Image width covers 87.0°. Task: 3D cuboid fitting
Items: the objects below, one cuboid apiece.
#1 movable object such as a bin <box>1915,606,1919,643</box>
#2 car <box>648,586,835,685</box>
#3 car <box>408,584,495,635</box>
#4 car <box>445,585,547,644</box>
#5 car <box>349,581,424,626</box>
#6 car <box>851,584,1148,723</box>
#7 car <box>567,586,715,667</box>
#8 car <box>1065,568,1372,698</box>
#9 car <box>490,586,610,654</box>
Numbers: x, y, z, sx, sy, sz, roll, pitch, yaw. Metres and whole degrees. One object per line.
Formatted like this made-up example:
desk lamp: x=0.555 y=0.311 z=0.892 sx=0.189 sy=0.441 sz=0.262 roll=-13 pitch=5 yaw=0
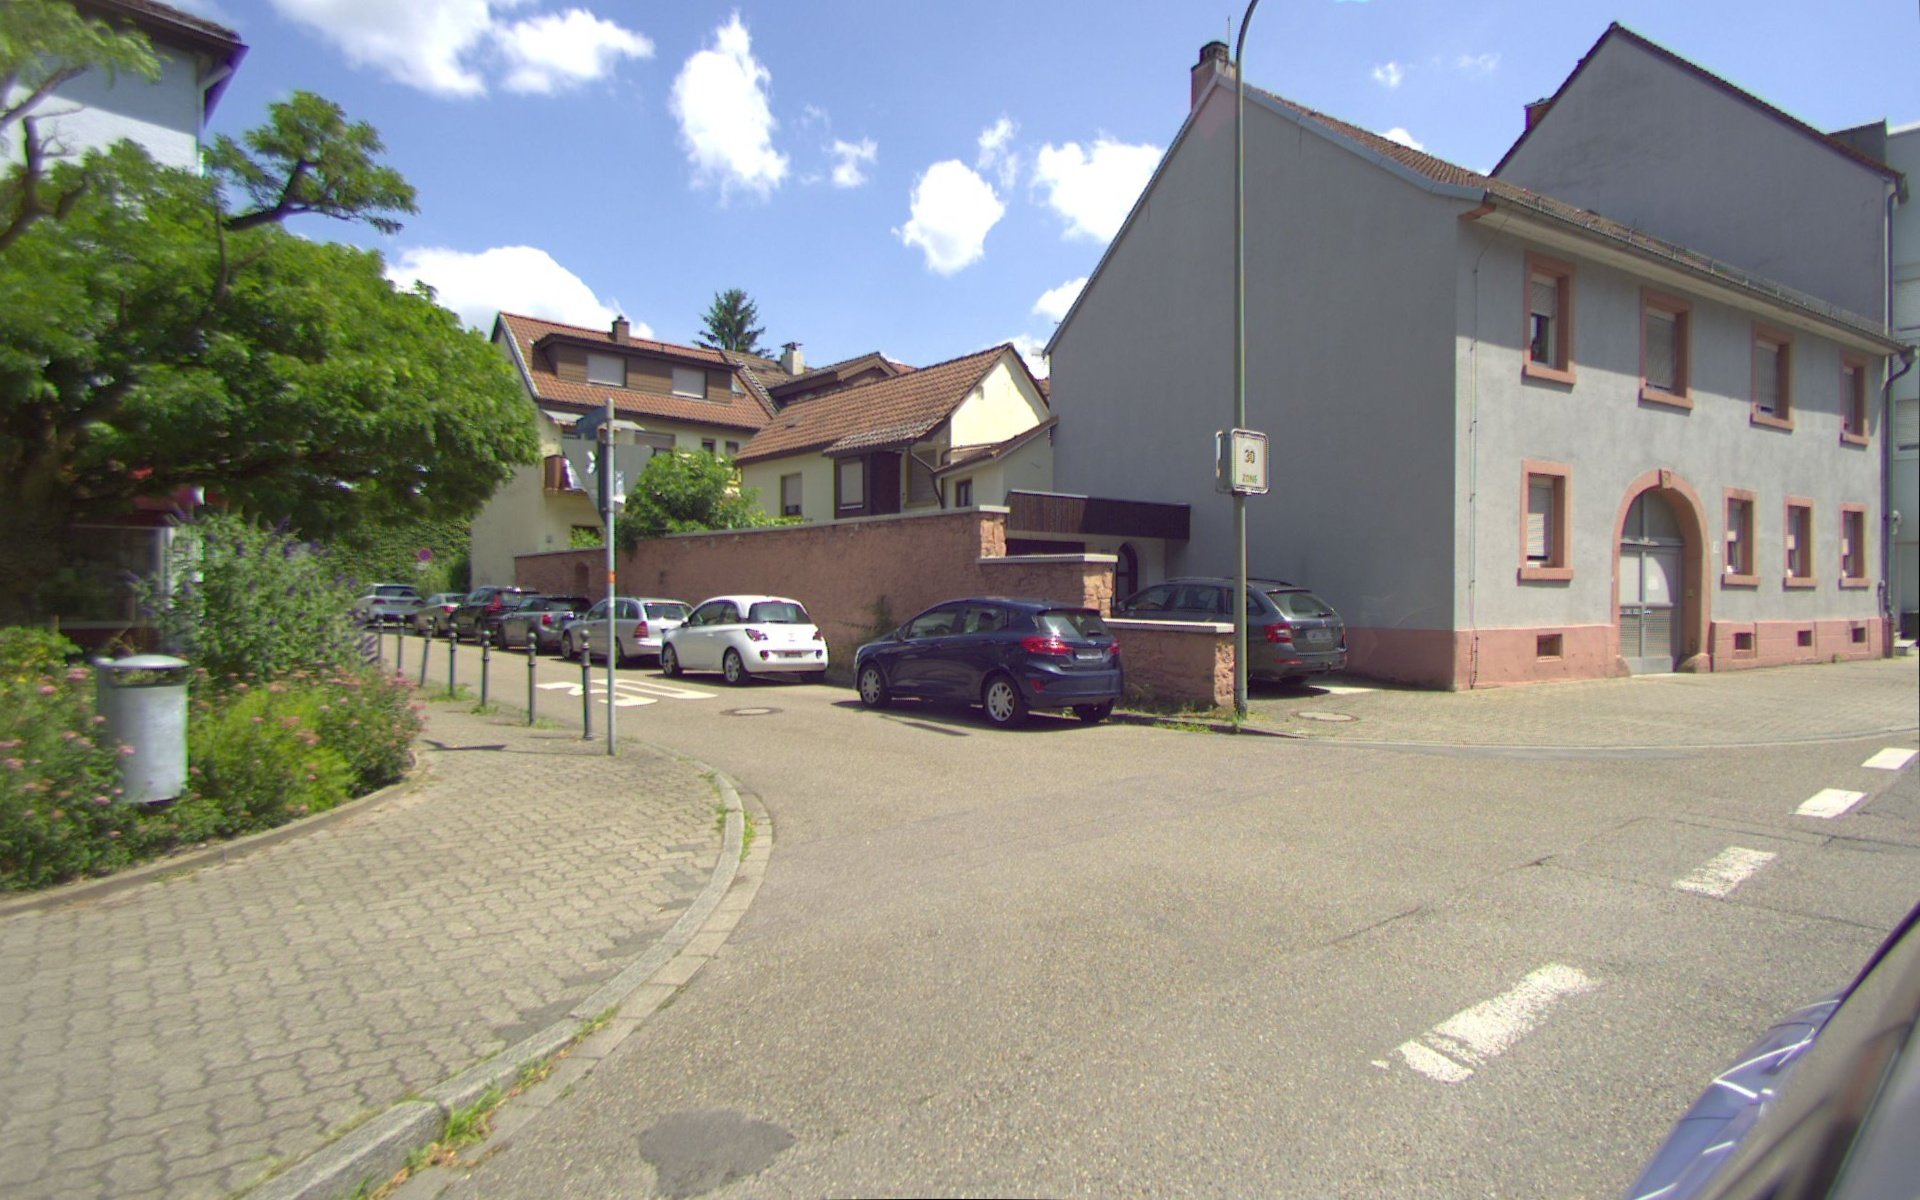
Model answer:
movable object such as a bin: x=25.218 y=0.651 z=26.359 sx=0.472 sy=0.946 sz=0.480 roll=1 pitch=1 yaw=43
car: x=-3.905 y=0.592 z=17.716 sx=1.710 sy=1.550 sz=3.605 roll=2 pitch=-2 yaw=-40
car: x=-16.473 y=0.312 z=32.698 sx=1.710 sy=1.550 sz=3.605 roll=2 pitch=-2 yaw=-40
car: x=-13.142 y=0.415 z=28.562 sx=1.710 sy=1.550 sz=3.605 roll=2 pitch=-2 yaw=-40
car: x=-22.848 y=0.110 z=40.282 sx=1.964 sy=1.683 sz=3.995 roll=0 pitch=1 yaw=-39
car: x=0.371 y=0.598 z=12.576 sx=1.710 sy=1.467 sz=3.605 roll=2 pitch=-2 yaw=-40
car: x=-6.744 y=0.544 z=21.202 sx=1.710 sy=1.550 sz=3.605 roll=2 pitch=-2 yaw=-40
car: x=3.618 y=0.340 z=14.900 sx=1.709 sy=1.548 sz=4.283 roll=-2 pitch=3 yaw=-36
car: x=-10.169 y=0.488 z=24.981 sx=1.710 sy=1.550 sz=3.605 roll=2 pitch=-2 yaw=-40
